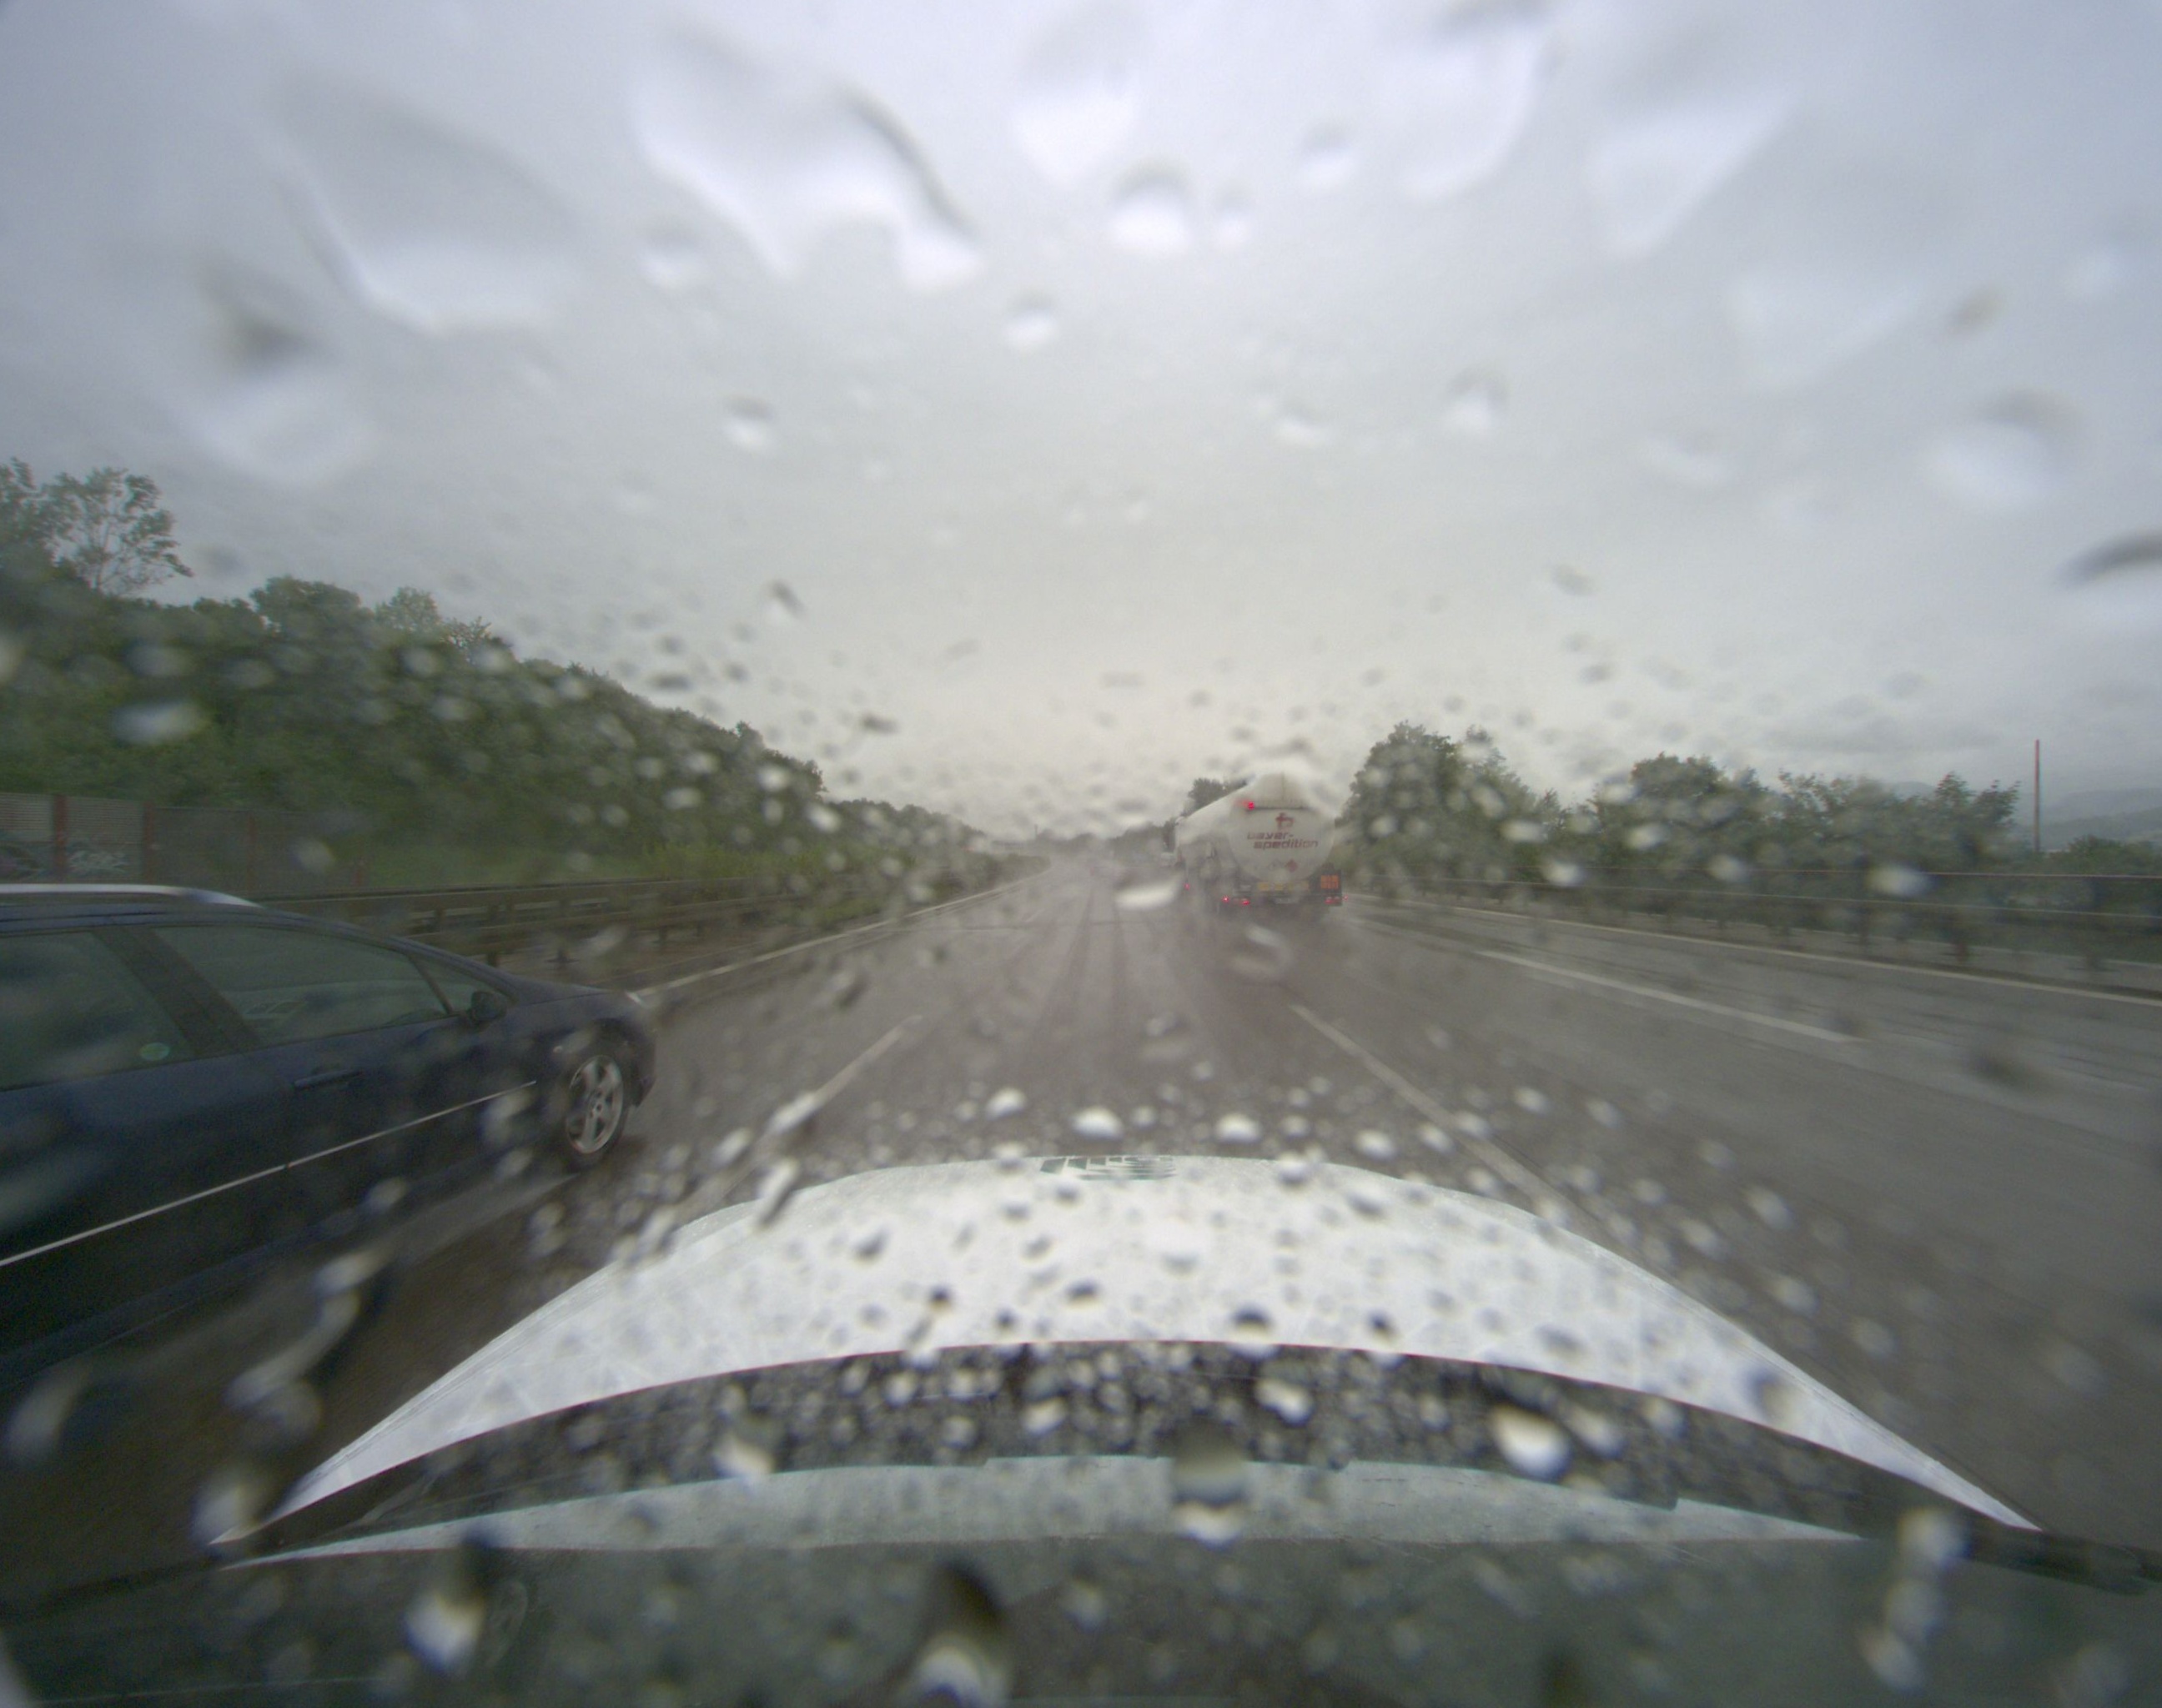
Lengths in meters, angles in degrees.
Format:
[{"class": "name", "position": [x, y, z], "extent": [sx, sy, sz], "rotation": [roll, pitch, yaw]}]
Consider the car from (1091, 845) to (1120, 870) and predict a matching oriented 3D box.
[{"class": "car", "position": [1.741, 0.240, 59.844], "extent": [1.972, 1.756, 4.480], "rotation": [-1, 0, 0]}]

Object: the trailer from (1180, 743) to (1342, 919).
[{"class": "trailer", "position": [4.510, -0.496, 22.430], "extent": [2.992, 3.848, 8.631], "rotation": [-1, 0, 3]}]

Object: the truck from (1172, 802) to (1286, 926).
[{"class": "truck", "position": [4.824, 0.323, 27.788], "extent": [2.931, 3.684, 6.366], "rotation": [-2, 0, 3]}]

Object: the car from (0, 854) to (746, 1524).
[{"class": "car", "position": [-3.382, 0.757, 2.800], "extent": [2.045, 1.485, 5.163], "rotation": [0, 0, 4]}]
